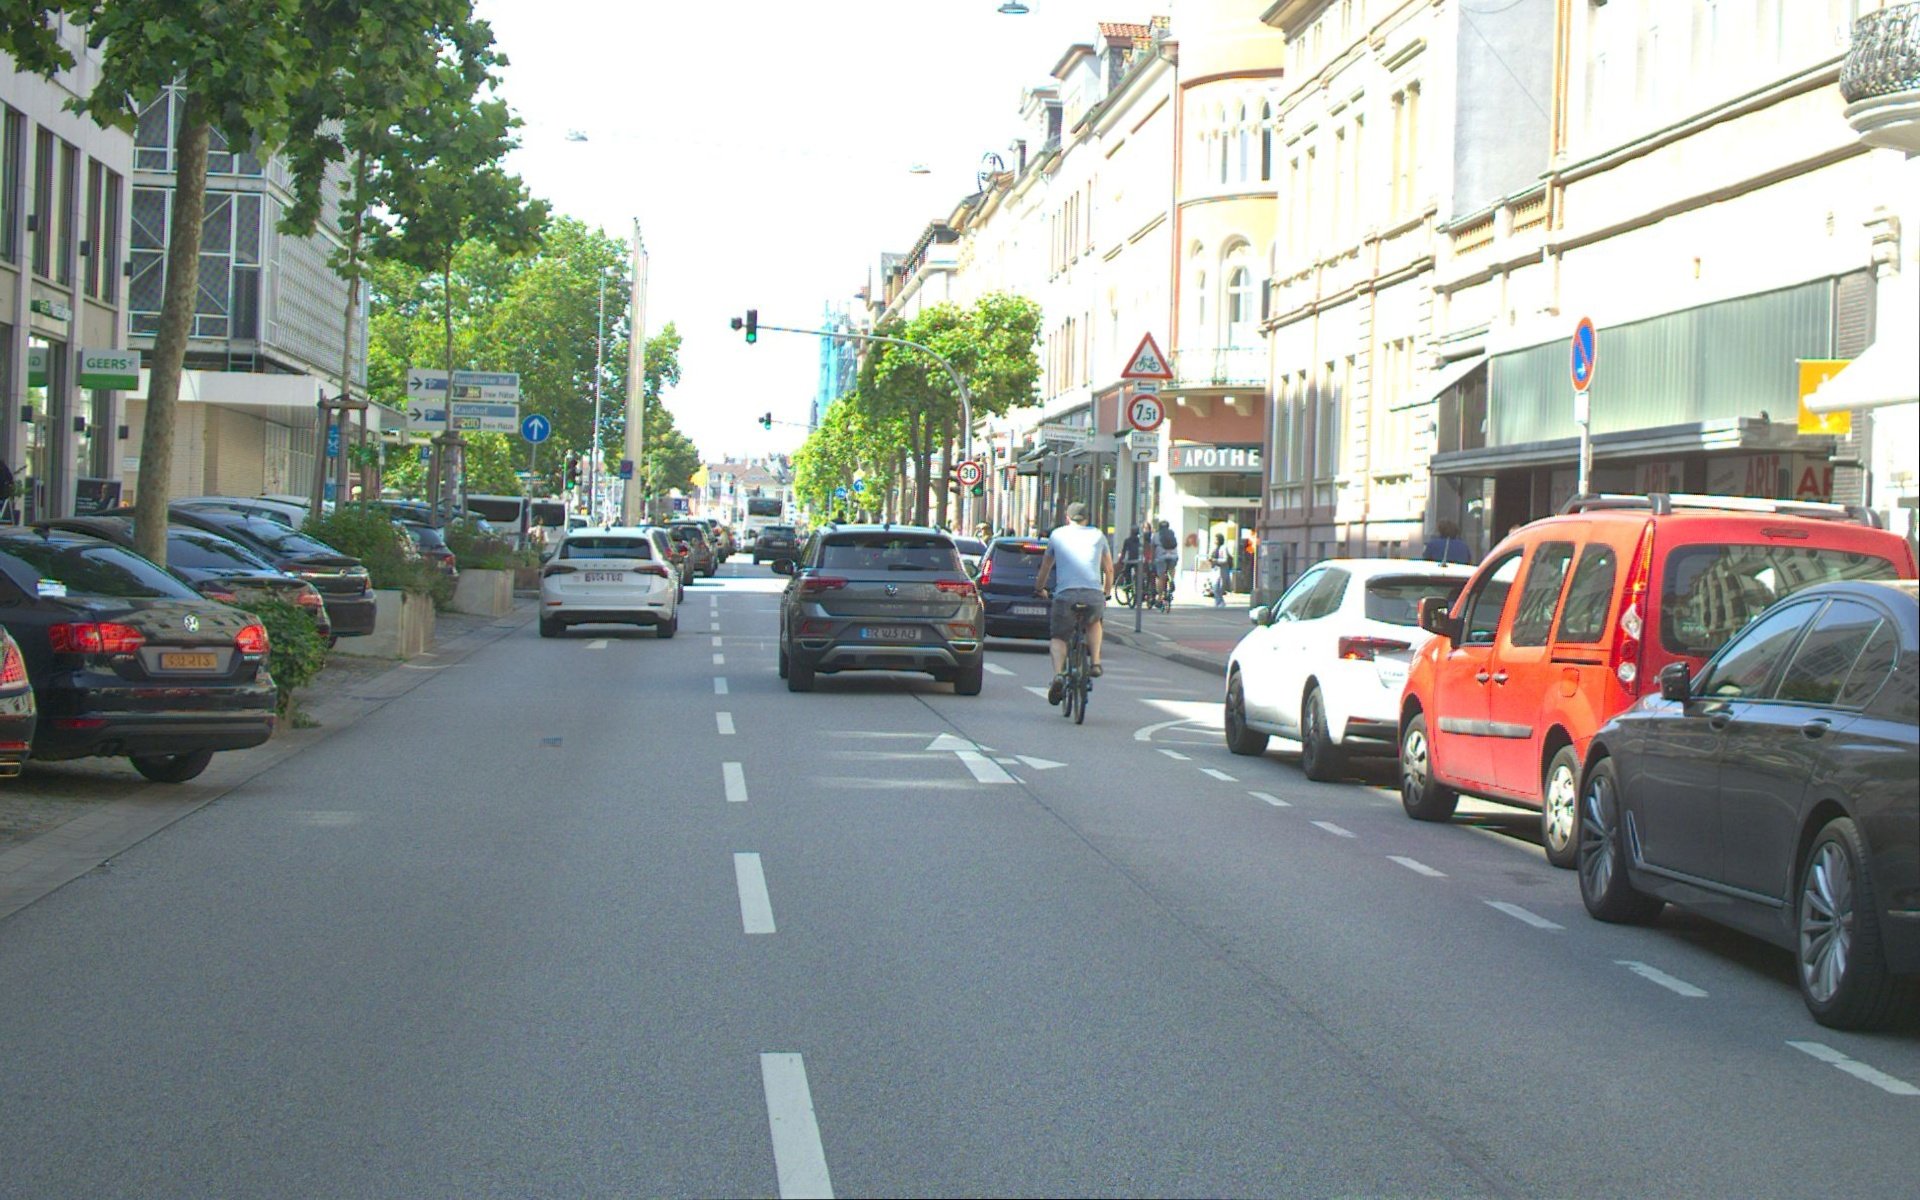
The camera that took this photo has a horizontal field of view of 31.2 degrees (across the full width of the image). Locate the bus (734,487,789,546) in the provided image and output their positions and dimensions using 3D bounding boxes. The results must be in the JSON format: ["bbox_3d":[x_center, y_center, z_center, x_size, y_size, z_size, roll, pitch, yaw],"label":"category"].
[{"bbox_3d":[-12.493,-5.248,216.175,2.769,3.592,8.976,1,1,-7],"label":"bus"}]

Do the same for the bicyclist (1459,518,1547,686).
[{"bbox_3d":[5.226,0.012,33.136,0.632,1.589,0.920,1,1,-2],"label":"bicyclist"}]

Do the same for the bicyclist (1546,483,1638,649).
[{"bbox_3d":[6.175,-0.338,33.628,0.658,1.589,0.920,1,1,-2],"label":"bicyclist"}]

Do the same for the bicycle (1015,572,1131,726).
[{"bbox_3d":[0.908,0.379,28.296,0.664,1.116,2.244,4,2,-4],"label":"bicycle"}]

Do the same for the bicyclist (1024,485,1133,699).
[{"bbox_3d":[0.961,-0.076,28.039,0.694,1.667,0.916,4,2,-3],"label":"bicyclist"}]

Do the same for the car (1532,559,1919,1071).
[{"bbox_3d":[3.666,0.663,12.725,1.859,1.465,5.226,3,1,-3],"label":"car"}]

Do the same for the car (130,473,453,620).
[{"bbox_3d":[-9.296,-0.741,47.819,3.992,1.563,1.698,7,1,21],"label":"car"}]

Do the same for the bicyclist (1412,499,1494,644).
[{"bbox_3d":[5.516,-0.330,38.525,0.709,1.589,0.963,1,1,-2],"label":"bicyclist"}]

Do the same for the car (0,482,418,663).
[{"bbox_3d":[-7.896,-0.301,35.013,4.347,1.508,1.830,5,1,26],"label":"car"}]

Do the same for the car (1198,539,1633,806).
[{"bbox_3d":[3.002,0.414,23.701,1.812,1.461,4.582,3,2,-7],"label":"car"}]

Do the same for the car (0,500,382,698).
[{"bbox_3d":[-7.315,-0.065,29.791,4.647,1.403,1.902,5,2,39],"label":"car"}]

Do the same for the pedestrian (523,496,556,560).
[{"bbox_3d":[-10.741,-1.833,87.860,0.612,1.610,0.550,2,-1,-34],"label":"pedestrian"}]

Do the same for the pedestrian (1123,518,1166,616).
[{"bbox_3d":[3.615,-0.647,67.534,0.709,1.893,1.152,2,1,-1],"label":"pedestrian"}]

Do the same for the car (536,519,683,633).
[{"bbox_3d":[-4.680,-0.356,46.041,1.862,1.436,4.001,1,1,-5],"label":"car"}]

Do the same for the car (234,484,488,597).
[{"bbox_3d":[-10.082,-1.008,58.110,3.986,1.495,1.718,6,1,-6],"label":"car"}]

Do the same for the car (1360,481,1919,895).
[{"bbox_3d":[3.616,0.355,18.268,1.827,1.857,4.355,3,1,-8],"label":"car"}]

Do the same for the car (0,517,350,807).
[{"bbox_3d":[-5.985,0.232,20.204,4.792,1.417,1.879,5,2,36],"label":"car"}]

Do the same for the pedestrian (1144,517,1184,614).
[{"bbox_3d":[3.845,-0.660,64.829,0.652,1.803,0.729,2,1,-1],"label":"pedestrian"}]

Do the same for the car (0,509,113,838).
[{"bbox_3d":[-6.577,0.223,17.222,4.753,1.528,1.986,4,2,38],"label":"car"}]

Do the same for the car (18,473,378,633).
[{"bbox_3d":[-9.120,-0.573,41.425,3.986,1.495,1.718,6,1,-8],"label":"car"}]

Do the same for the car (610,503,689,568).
[{"bbox_3d":[-7.182,-1.513,79.684,1.743,1.436,4.001,1,1,-5],"label":"car"}]

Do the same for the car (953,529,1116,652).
[{"bbox_3d":[0.950,-0.153,45.530,1.822,1.404,3.187,4,2,-3],"label":"car"}]

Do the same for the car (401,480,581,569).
[{"bbox_3d":[-12.957,-2.096,94.868,4.719,1.996,1.937,6,1,36],"label":"car"}]

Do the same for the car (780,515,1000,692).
[{"bbox_3d":[-0.725,-0.010,32.516,1.833,1.522,4.001,2,1,-4],"label":"car"}]

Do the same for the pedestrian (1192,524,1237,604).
[{"bbox_3d":[5.519,-0.793,74.660,0.791,1.714,0.730,1,1,-9],"label":"pedestrian"}]

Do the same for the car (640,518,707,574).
[{"bbox_3d":[-7.789,-1.489,93.500,1.743,1.436,4.001,1,1,-5],"label":"car"}]

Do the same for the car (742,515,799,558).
[{"bbox_3d":[-6.643,-2.232,120.263,1.862,1.436,4.001,1,1,-5],"label":"car"}]

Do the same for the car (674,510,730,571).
[{"bbox_3d":[-9.148,-2.102,121.768,1.862,2.023,4.001,2,0,-5],"label":"car"}]

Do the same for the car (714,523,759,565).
[{"bbox_3d":[-10.036,-2.494,154.379,1.863,1.700,4.000,-3,0,-5],"label":"car"}]

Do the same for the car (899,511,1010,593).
[{"bbox_3d":[-0.132,-0.914,63.473,1.822,1.380,4.001,1,2,-3],"label":"car"}]
